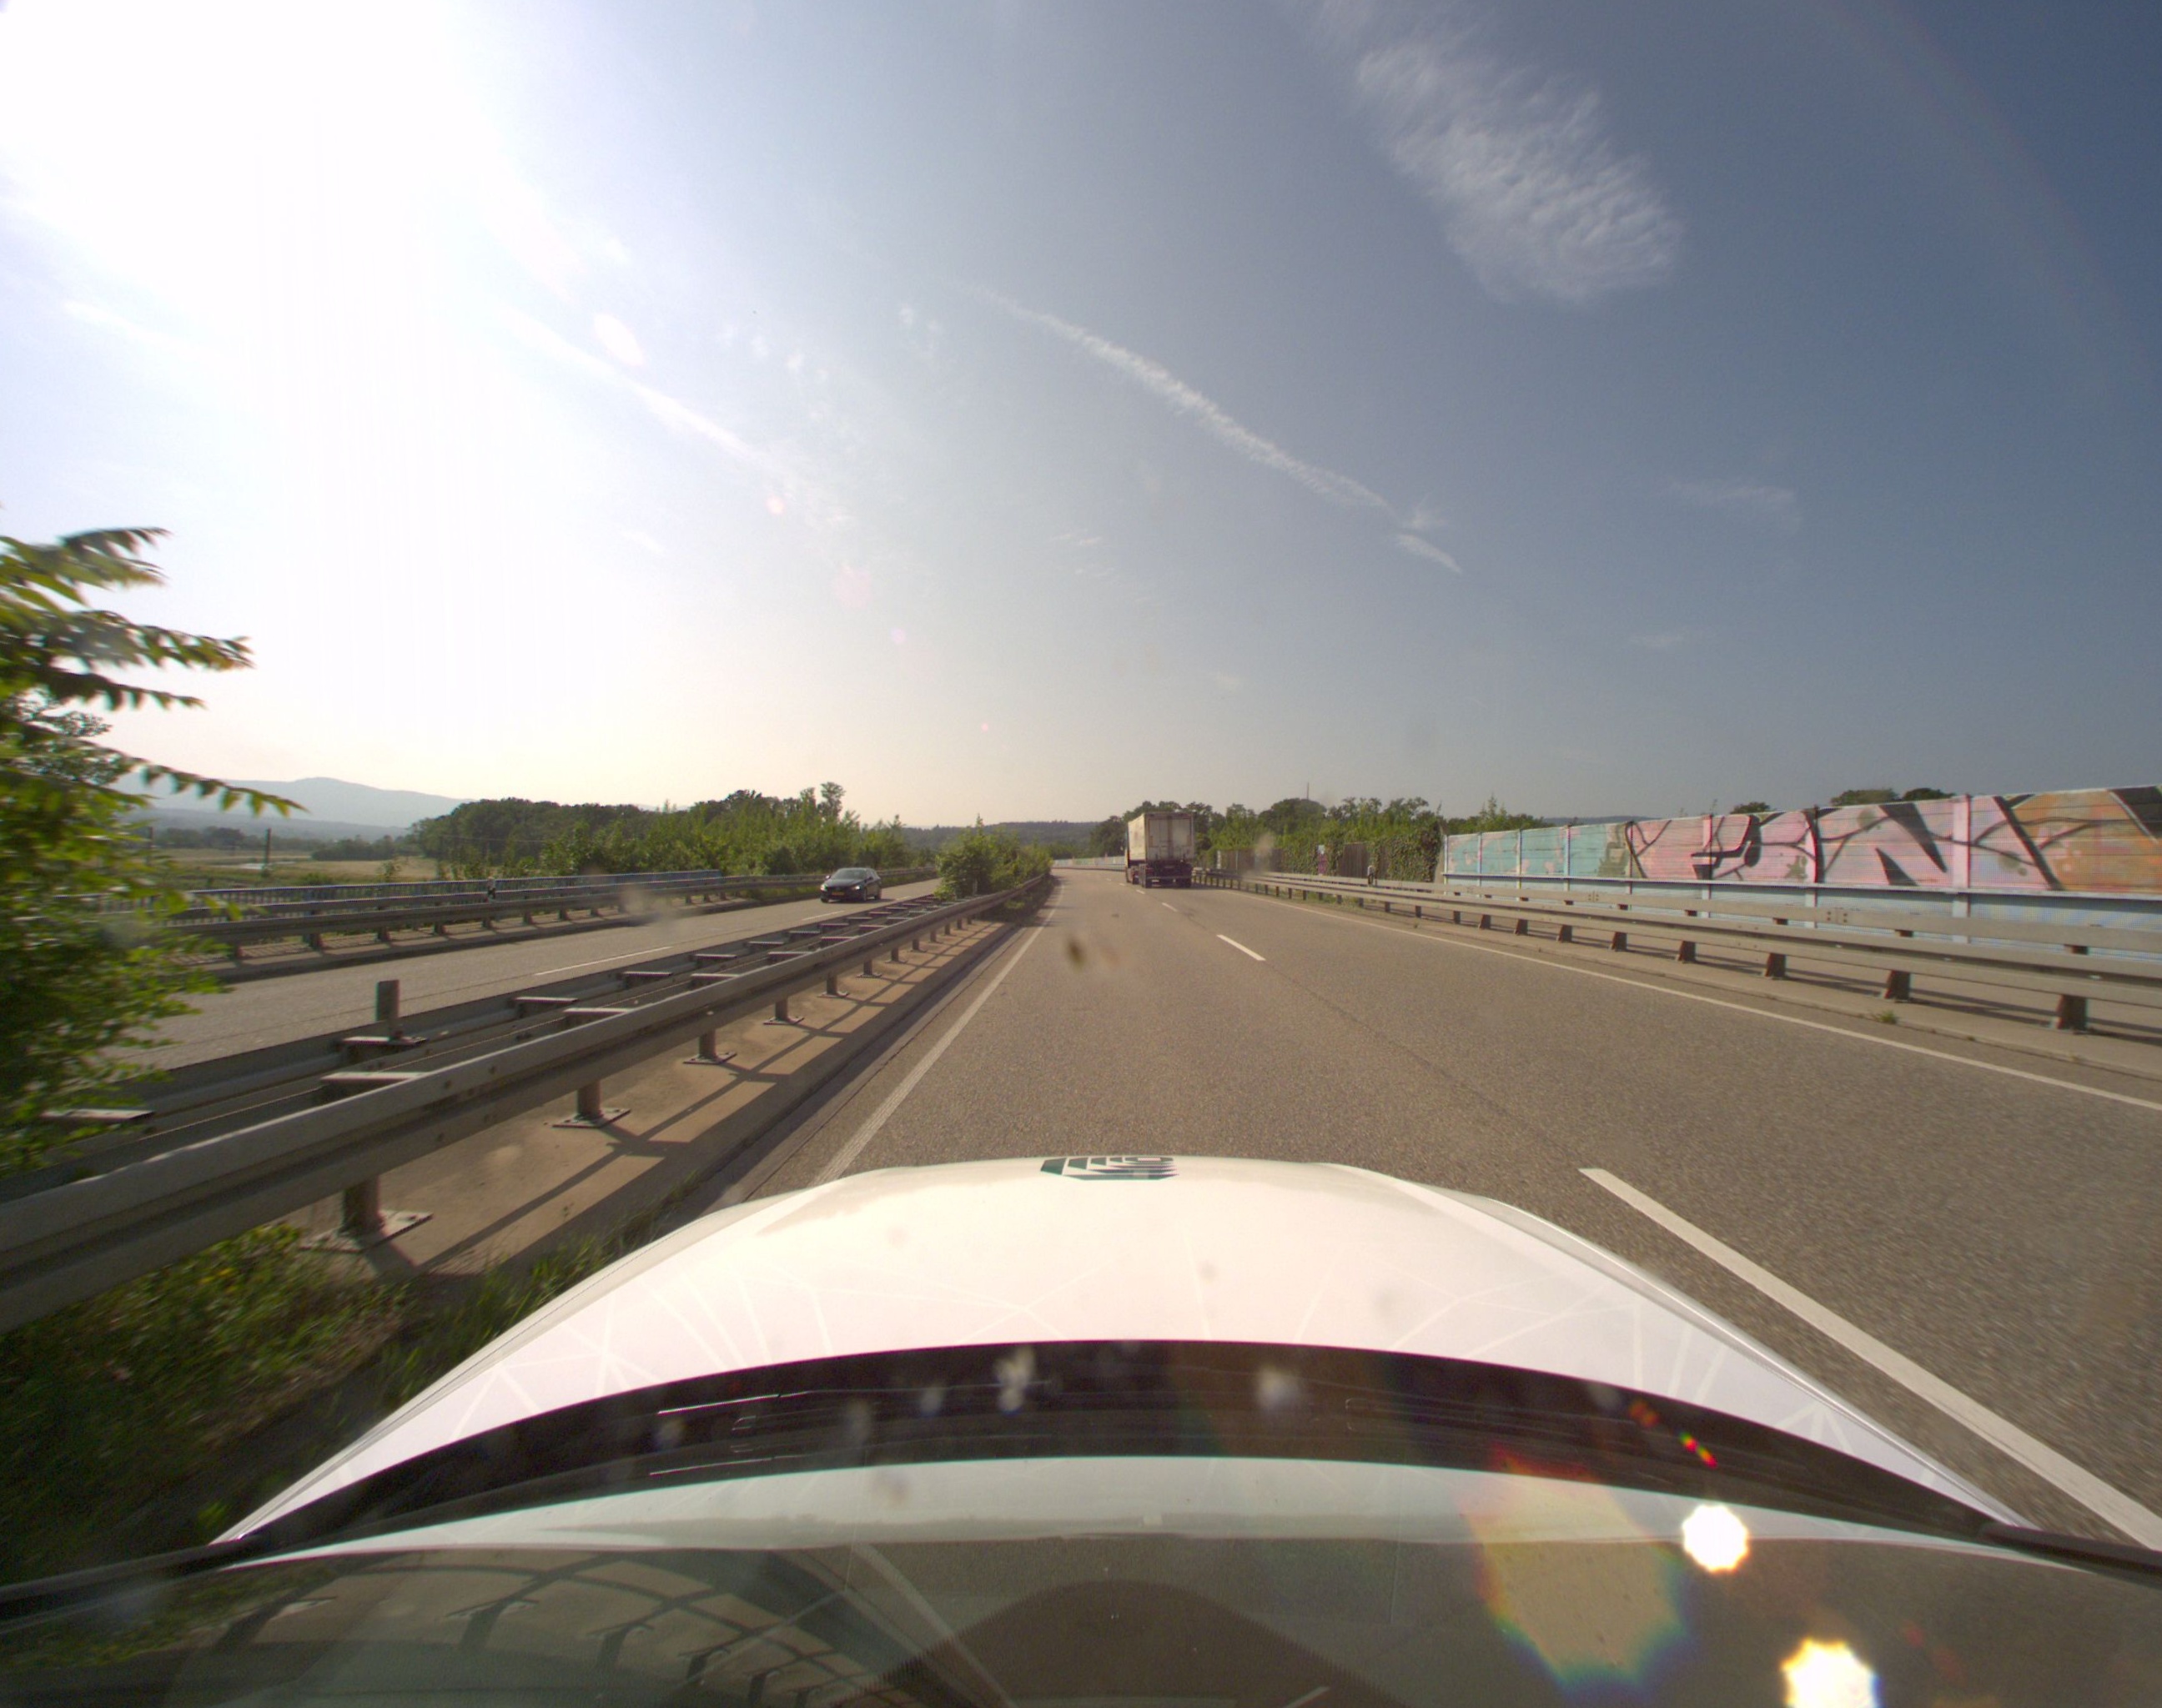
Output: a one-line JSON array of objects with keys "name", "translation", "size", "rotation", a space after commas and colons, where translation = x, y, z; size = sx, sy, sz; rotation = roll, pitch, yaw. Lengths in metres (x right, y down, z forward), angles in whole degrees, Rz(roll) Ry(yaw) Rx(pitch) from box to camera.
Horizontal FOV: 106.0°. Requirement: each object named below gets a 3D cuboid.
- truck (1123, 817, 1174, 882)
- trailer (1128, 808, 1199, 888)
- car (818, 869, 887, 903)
[{"name": "truck", "translation": [4.211, -0.253, 51.843], "size": [2.651, 3.896, 5.644], "rotation": [-1, 0, -1]}, {"name": "trailer", "translation": [4.368, -0.272, 45.097], "size": [2.672, 3.907, 9.666], "rotation": [-1, 0, -1]}, {"name": "car", "translation": [-9.993, 1.361, 35.970], "size": [1.702, 1.369, 4.835], "rotation": [0, -1, 0]}]
